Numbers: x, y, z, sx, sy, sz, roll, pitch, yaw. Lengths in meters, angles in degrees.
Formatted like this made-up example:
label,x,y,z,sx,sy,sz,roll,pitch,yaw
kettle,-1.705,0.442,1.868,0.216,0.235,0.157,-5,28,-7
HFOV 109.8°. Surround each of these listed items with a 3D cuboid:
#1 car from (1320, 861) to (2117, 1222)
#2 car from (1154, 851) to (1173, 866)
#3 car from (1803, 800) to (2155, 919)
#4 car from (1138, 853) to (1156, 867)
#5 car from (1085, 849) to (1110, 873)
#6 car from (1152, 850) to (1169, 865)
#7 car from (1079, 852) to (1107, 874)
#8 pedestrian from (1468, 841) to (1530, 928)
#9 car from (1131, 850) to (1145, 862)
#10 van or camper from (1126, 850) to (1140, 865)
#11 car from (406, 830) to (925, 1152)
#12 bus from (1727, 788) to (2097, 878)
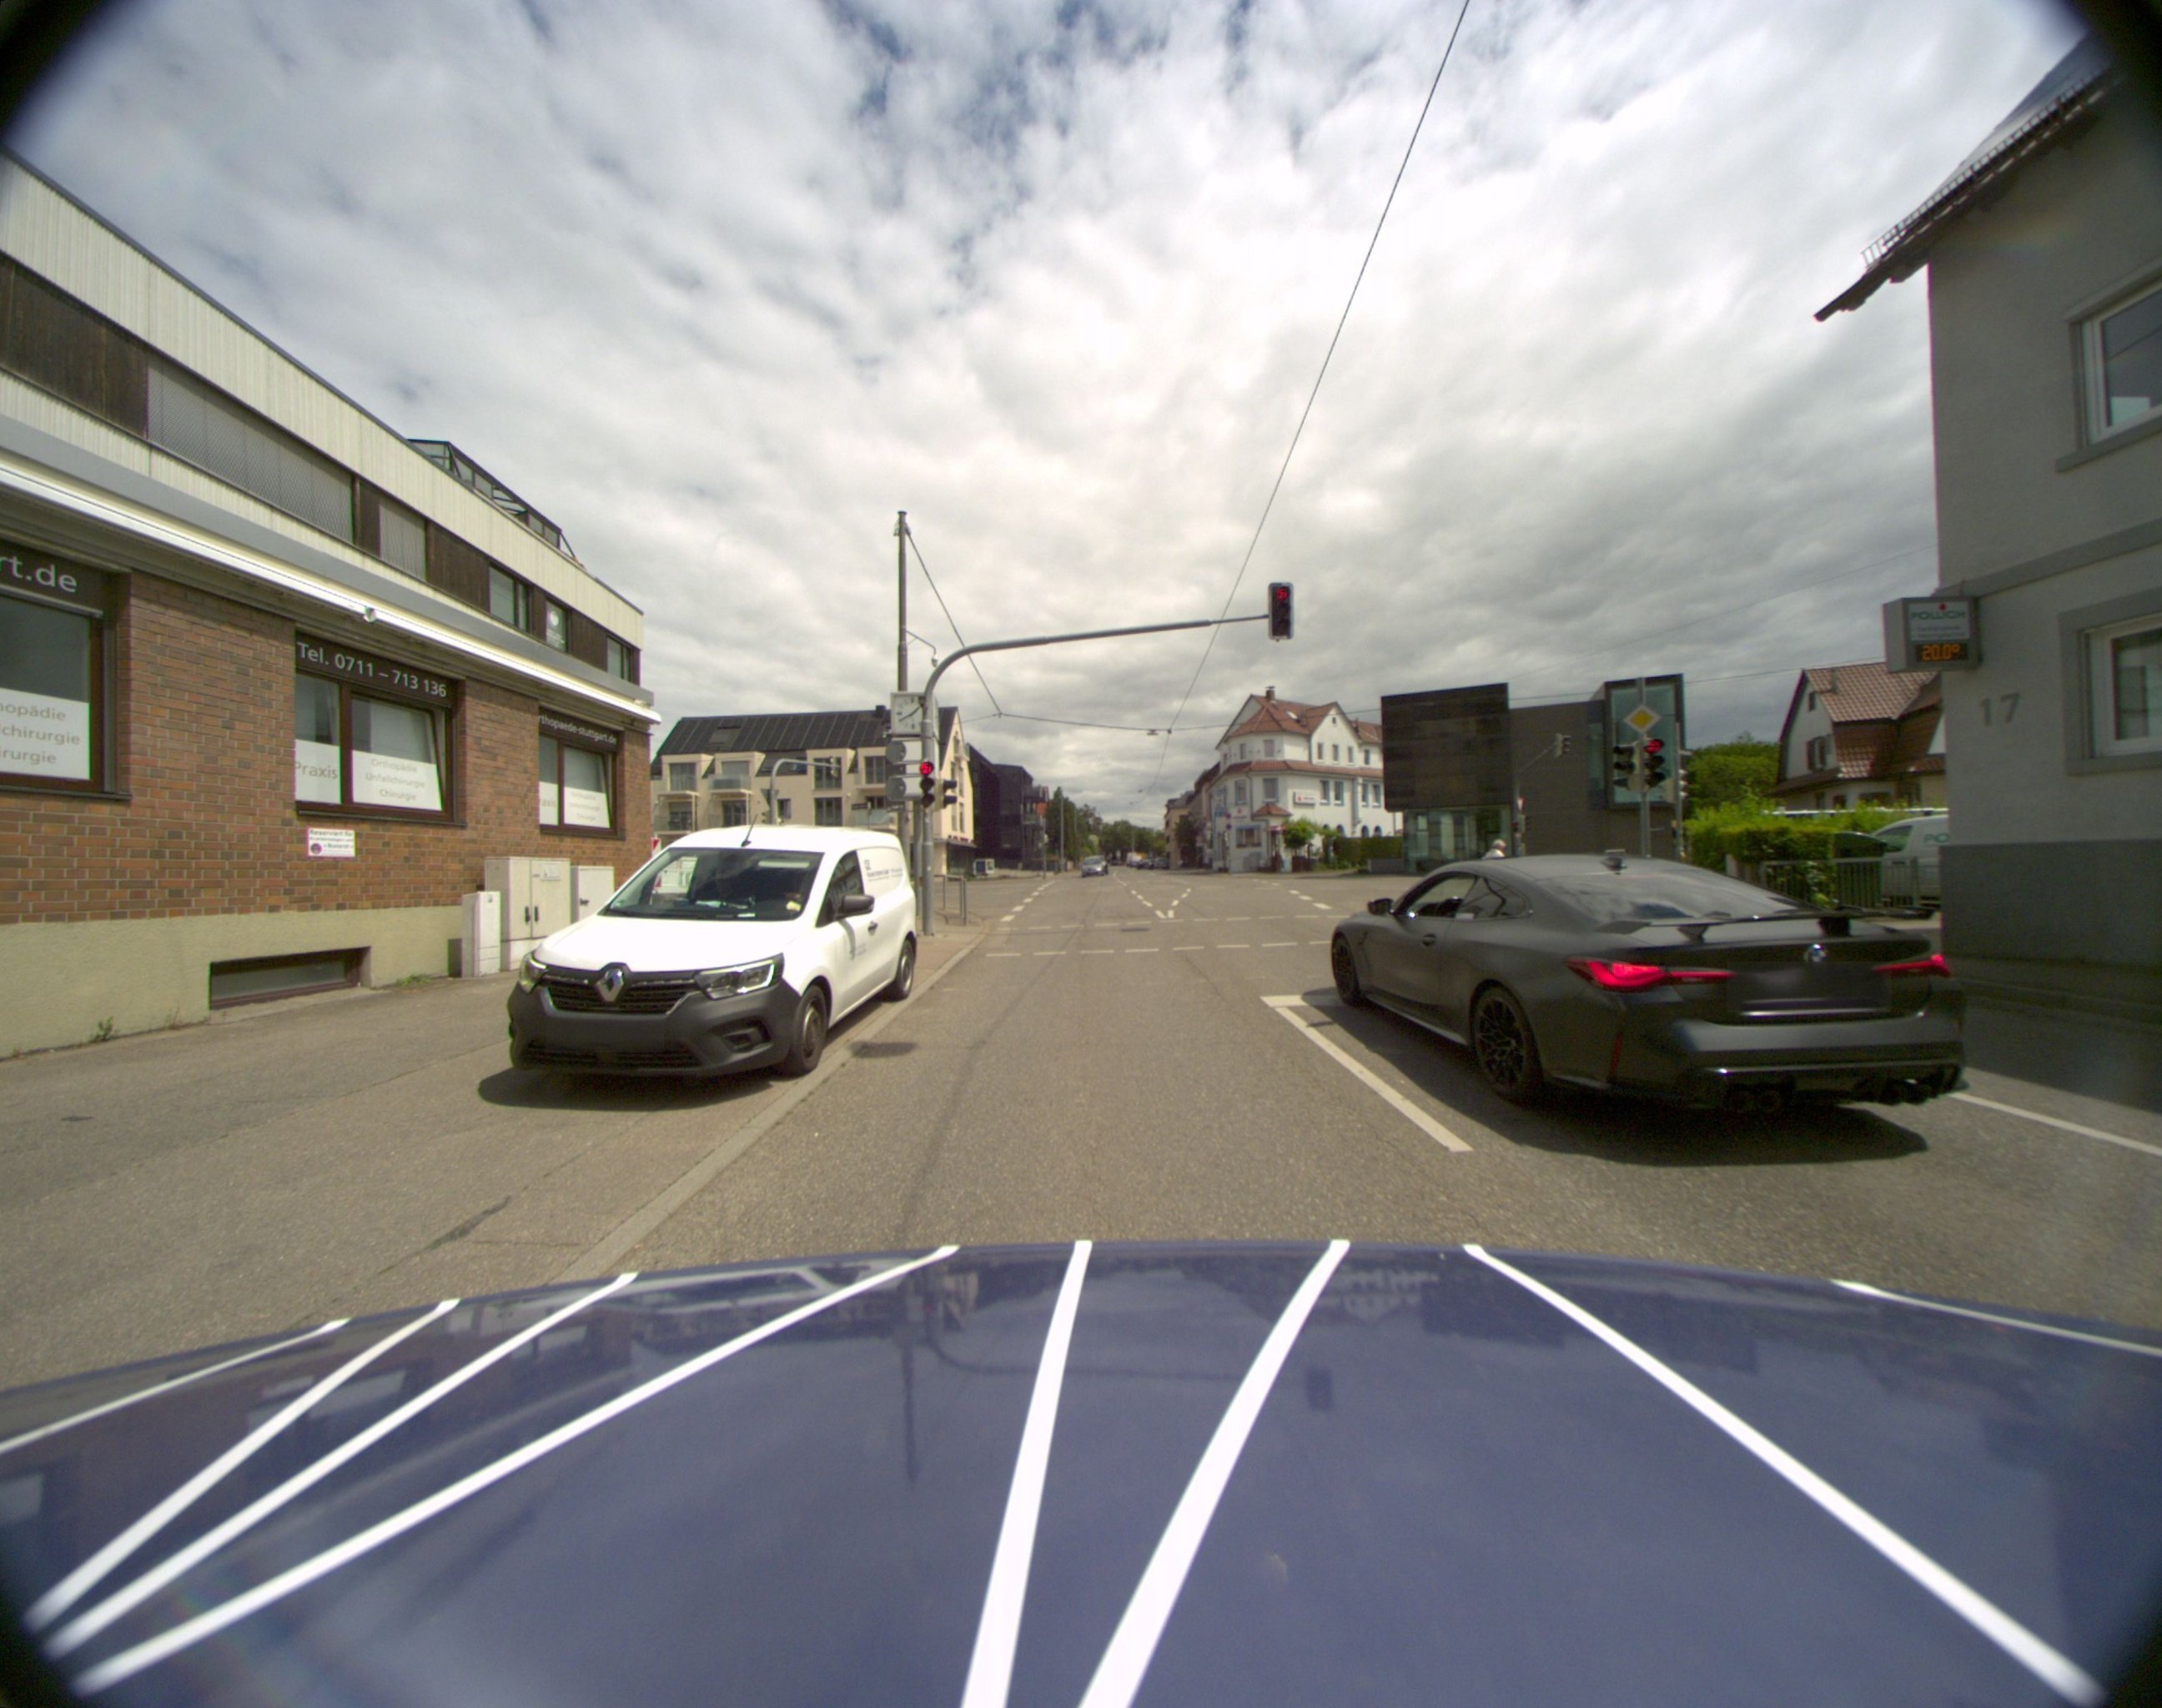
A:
label,x,y,z,sx,sy,sz,roll,pitch,yaw
car,3.404,0.821,5.516,1.998,1.448,4.617,-1,0,2
car,10.847,0.590,100.062,1.998,2.002,4.000,-1,0,1
car,16.625,0.077,14.467,1.998,1.936,4.000,-1,0,1
car,7.848,0.685,90.208,1.998,1.521,4.001,2,1,4
car,1.478,0.583,64.804,1.998,2.002,4.001,-1,0,3
car,10.942,0.429,105.255,1.998,2.002,4.000,-1,0,1
car,0.962,0.669,58.984,1.998,1.674,4.001,-1,0,3
pedestrian,8.119,0.575,14.793,0.872,1.628,0.837,-1,1,16
car,8.756,0.369,116.977,1.820,1.801,4.419,0,-1,1
van or camper,9.583,0.699,140.566,2.113,2.571,5.644,1,-1,-2
car,-2.791,0.750,6.496,1.916,1.784,4.490,1,1,1
bus,30.986,-0.656,29.029,9.168,3.042,2.791,-1,1,25
